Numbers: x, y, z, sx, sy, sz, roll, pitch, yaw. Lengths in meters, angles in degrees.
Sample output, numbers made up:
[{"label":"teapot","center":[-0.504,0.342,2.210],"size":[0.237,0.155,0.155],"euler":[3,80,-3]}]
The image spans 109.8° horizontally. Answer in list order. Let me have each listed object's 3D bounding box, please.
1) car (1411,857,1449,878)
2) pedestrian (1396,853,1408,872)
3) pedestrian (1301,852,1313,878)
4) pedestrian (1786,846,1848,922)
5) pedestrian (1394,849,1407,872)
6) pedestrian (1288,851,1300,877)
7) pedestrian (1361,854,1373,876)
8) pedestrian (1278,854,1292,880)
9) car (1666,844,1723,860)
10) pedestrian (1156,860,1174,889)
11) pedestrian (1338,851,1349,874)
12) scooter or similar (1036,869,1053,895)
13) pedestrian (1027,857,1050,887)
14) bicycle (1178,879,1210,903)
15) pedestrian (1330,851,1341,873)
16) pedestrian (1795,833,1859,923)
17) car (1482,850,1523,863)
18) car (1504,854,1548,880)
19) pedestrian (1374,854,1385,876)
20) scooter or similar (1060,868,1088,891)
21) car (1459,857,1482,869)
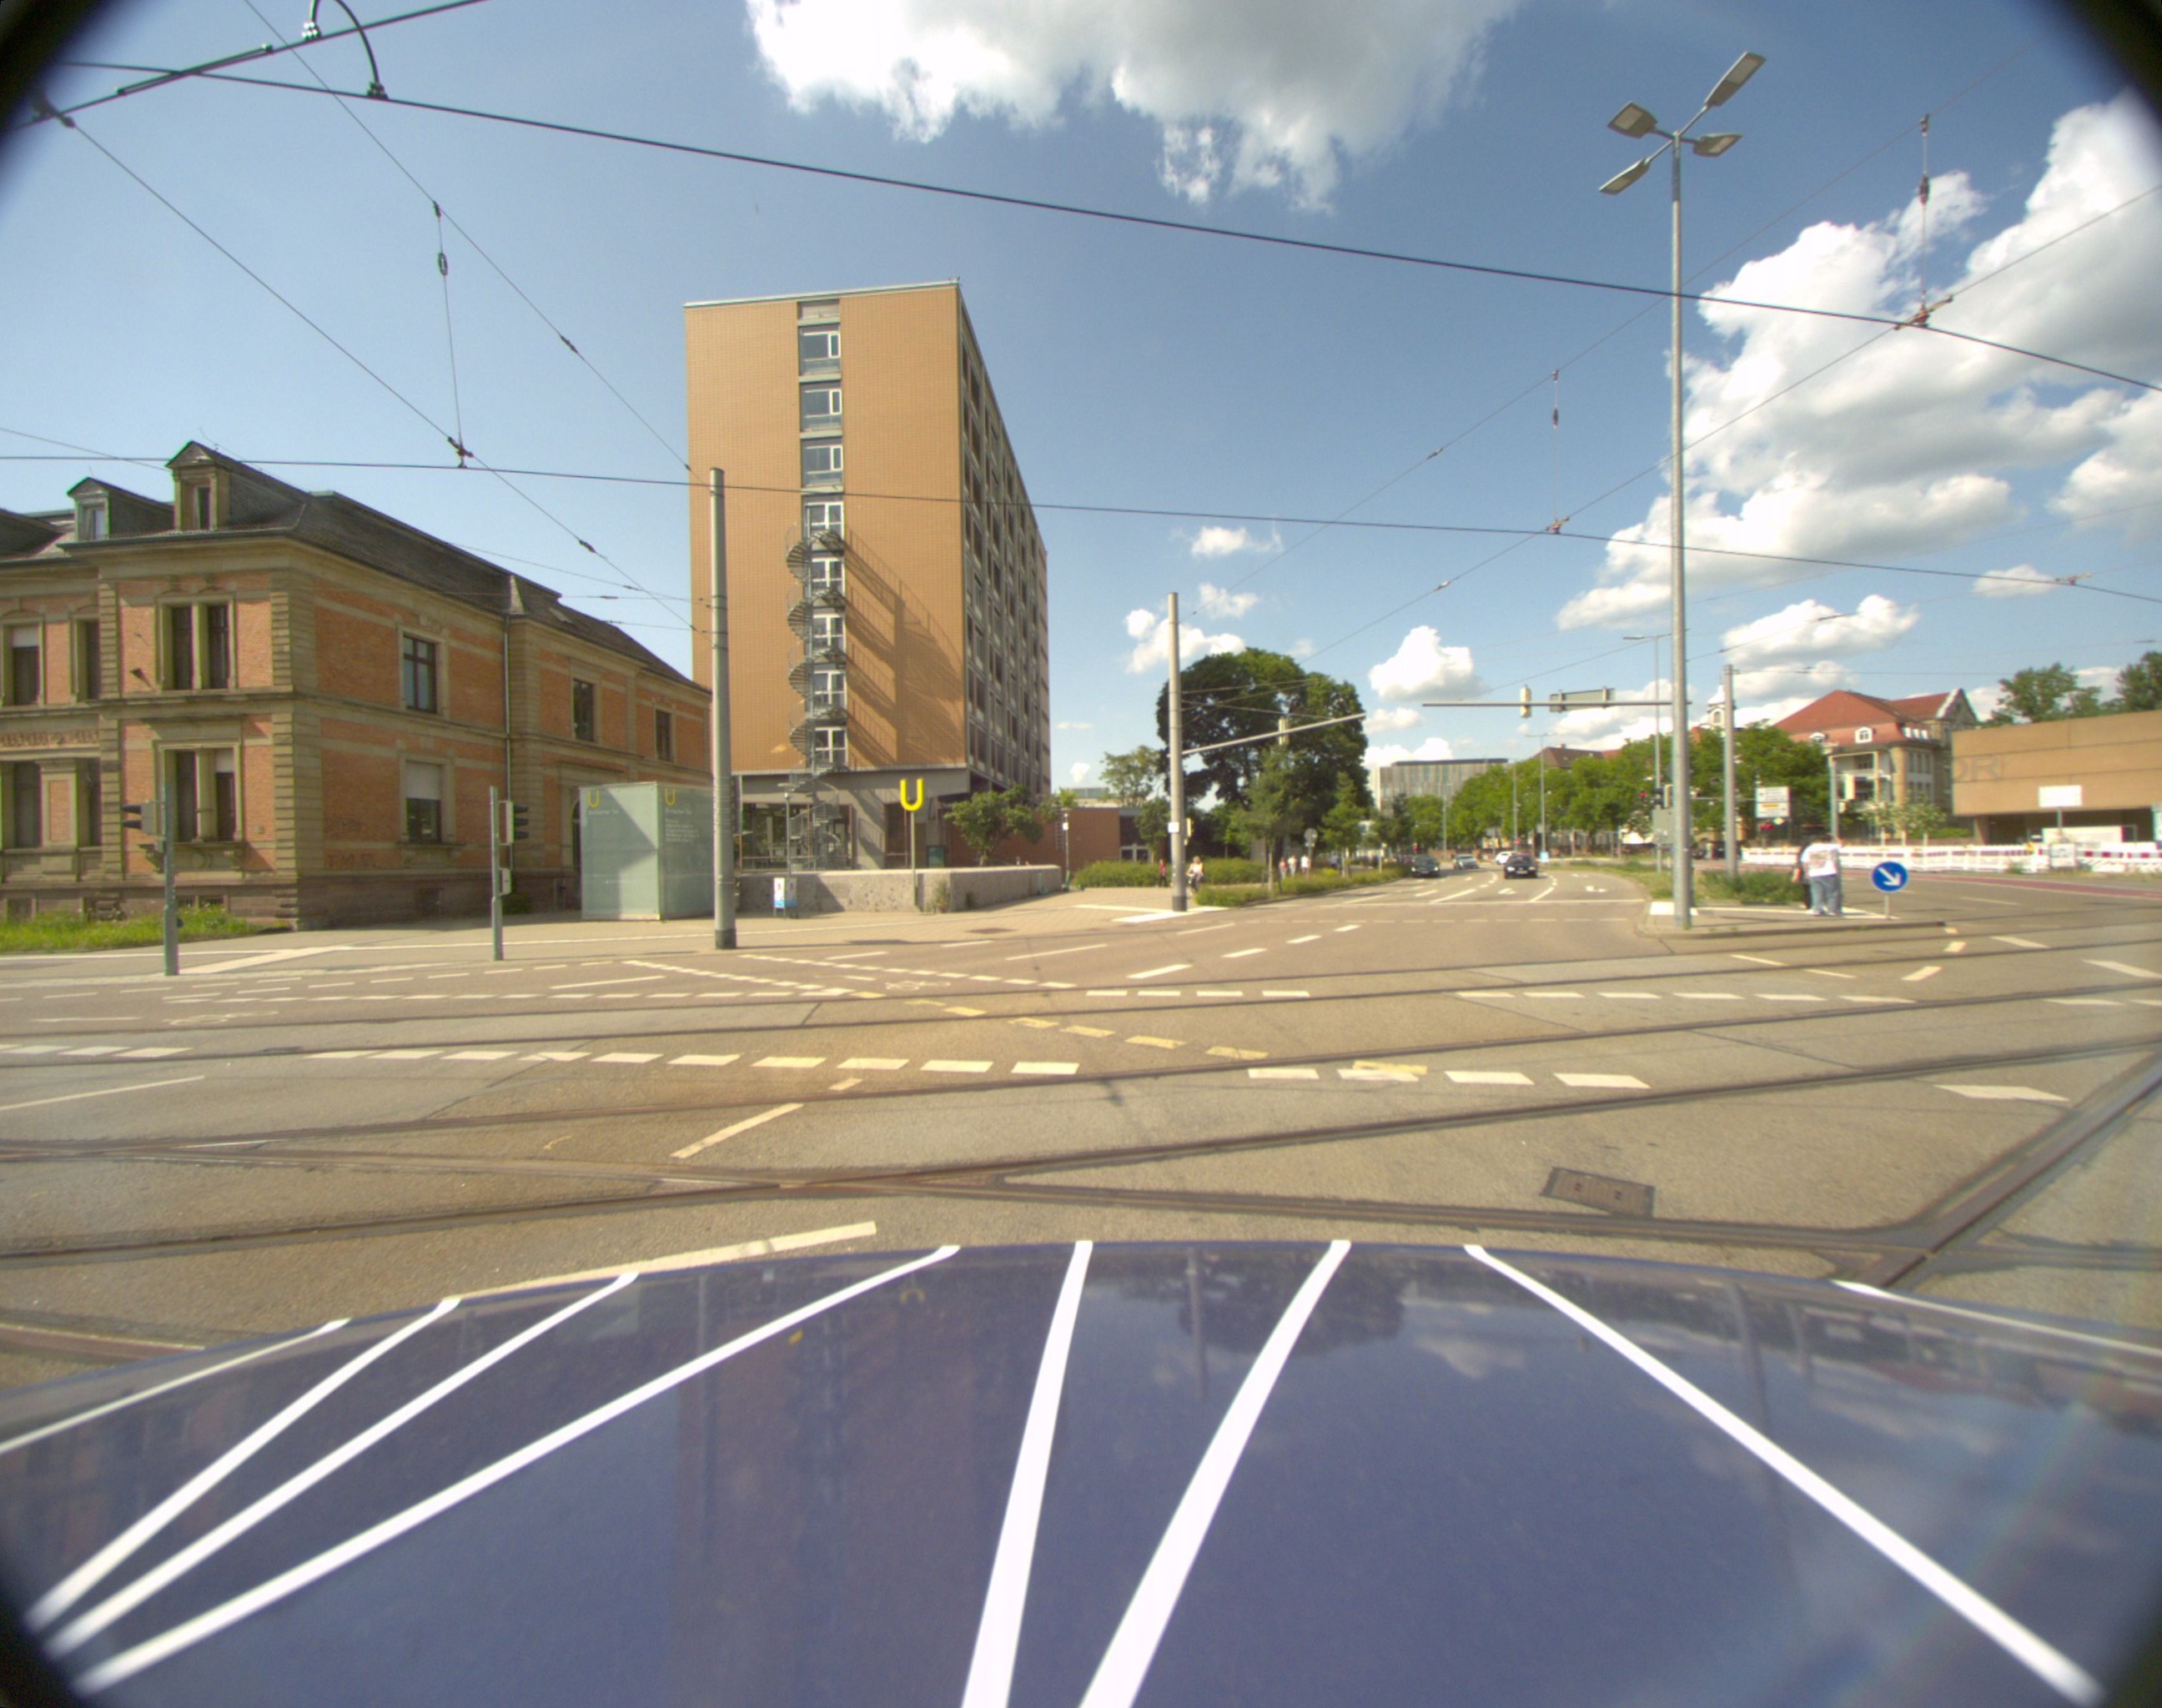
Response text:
[{"label":"car","center":[25.513,0.964,55.527],"size":[1.822,1.454,4.008],"euler":[-2,-1,35]},{"label":"pedestrian","center":[30.527,0.786,72.250],"size":[0.926,1.724,0.770],"euler":[-3,0,28]},{"label":"pedestrian","center":[14.930,0.697,50.103],"size":[0.614,1.690,0.891],"euler":[1,2,25]},{"label":"pedestrian","center":[16.404,0.645,16.955],"size":[0.848,1.638,0.694],"euler":[-1,1,30]},{"label":"pedestrian","center":[29.404,0.614,69.905],"size":[0.963,2.001,0.770],"euler":[-3,0,28]},{"label":"pedestrian","center":[14.154,0.669,50.450],"size":[0.614,1.690,0.891],"euler":[1,2,25]},{"label":"pedestrian","center":[23.400,0.900,62.204],"size":[0.766,1.724,0.720],"euler":[-3,0,22]},{"label":"pedestrian","center":[12.770,0.797,47.544],"size":[0.614,1.613,0.891],"euler":[2,2,29]},{"label":"car","center":[58.247,-0.223,72.174],"size":[3.781,1.327,1.736],"euler":[-3,0,20]},{"label":"pedestrian","center":[4.733,1.135,42.809],"size":[0.890,1.613,0.615],"euler":[0,2,-9]},{"label":"pedestrian","center":[20.847,0.686,60.312],"size":[0.742,1.744,0.891],"euler":[1,2,25]},{"label":"scooter or similar","center":[-1.663,1.277,34.762],"size":[0.465,1.111,1.448],"euler":[0,0,11]},{"label":"pedestrian","center":[-2.285,0.967,40.899],"size":[1.097,1.613,0.615],"euler":[0,2,-17]},{"label":"bicycle","center":[4.797,1.552,32.041],"size":[0.647,0.875,1.825],"euler":[-4,-1,30]},{"label":"pedestrian","center":[20.348,0.655,60.792],"size":[0.742,1.736,0.891],"euler":[1,2,25]},{"label":"pedestrian","center":[16.138,0.506,16.452],"size":[0.848,1.906,0.694],"euler":[-1,1,30]},{"label":"car","center":[47.793,0.274,86.285],"size":[1.780,1.346,3.995],"euler":[-3,0,-15]},{"label":"car","center":[27.062,0.763,46.139],"size":[1.822,1.454,4.008],"euler":[-2,-1,37]},{"label":"pedestrian","center":[24.444,0.908,62.241],"size":[0.766,1.724,0.720],"euler":[-3,0,22]},{"label":"scooter or similar","center":[-0.346,1.253,37.766],"size":[1.319,1.097,0.465],"euler":[0,0,-15]},{"label":"car","center":[39.172,0.891,76.531],"size":[1.905,1.127,4.109],"euler":[-2,0,26]}]
